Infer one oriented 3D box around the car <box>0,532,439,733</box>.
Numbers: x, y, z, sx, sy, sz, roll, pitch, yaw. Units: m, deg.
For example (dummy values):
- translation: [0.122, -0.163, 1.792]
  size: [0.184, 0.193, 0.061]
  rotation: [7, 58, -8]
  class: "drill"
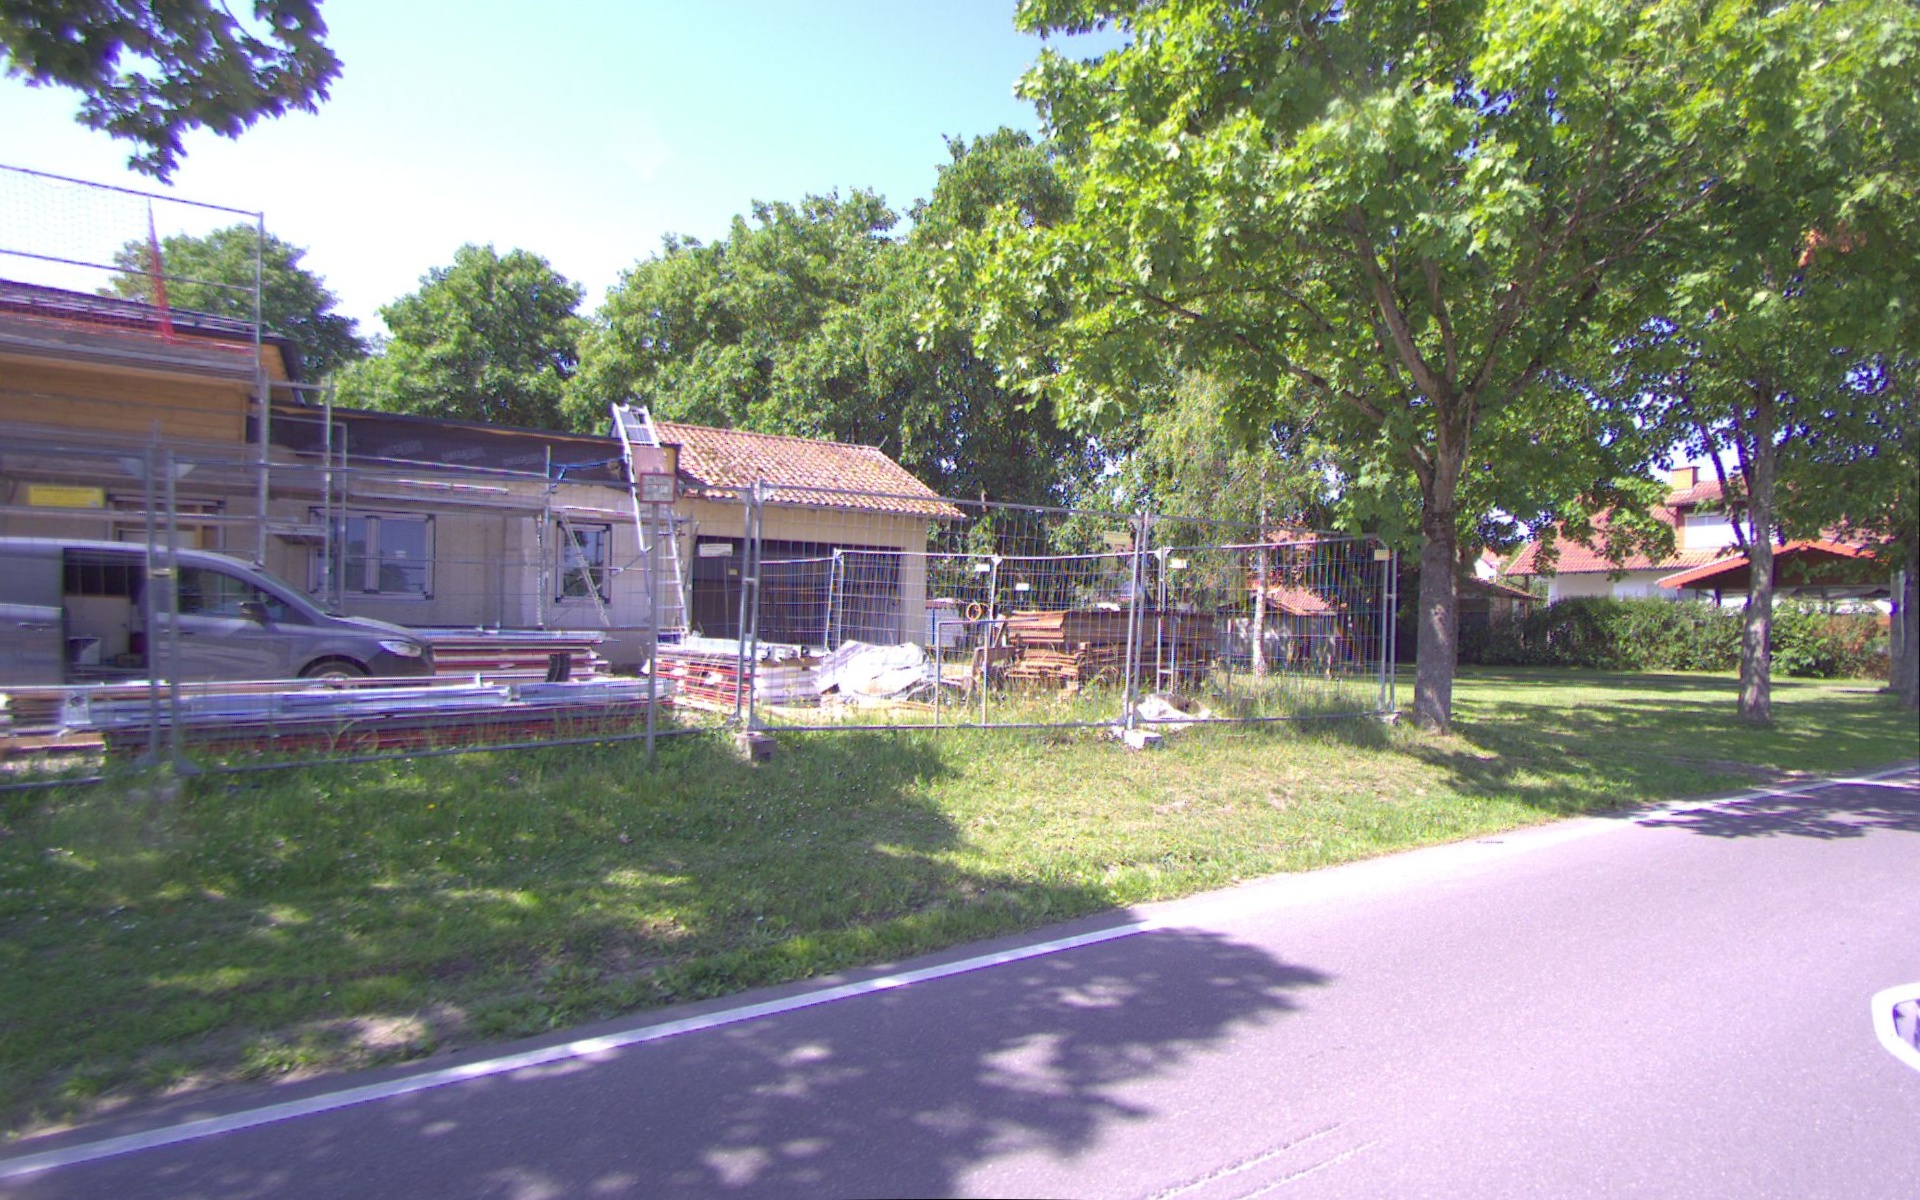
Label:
- translation: [-8.139, 0.332, 10.908]
  size: [4.280, 1.862, 1.960]
  rotation: [1, -1, -32]
  class: "car"
